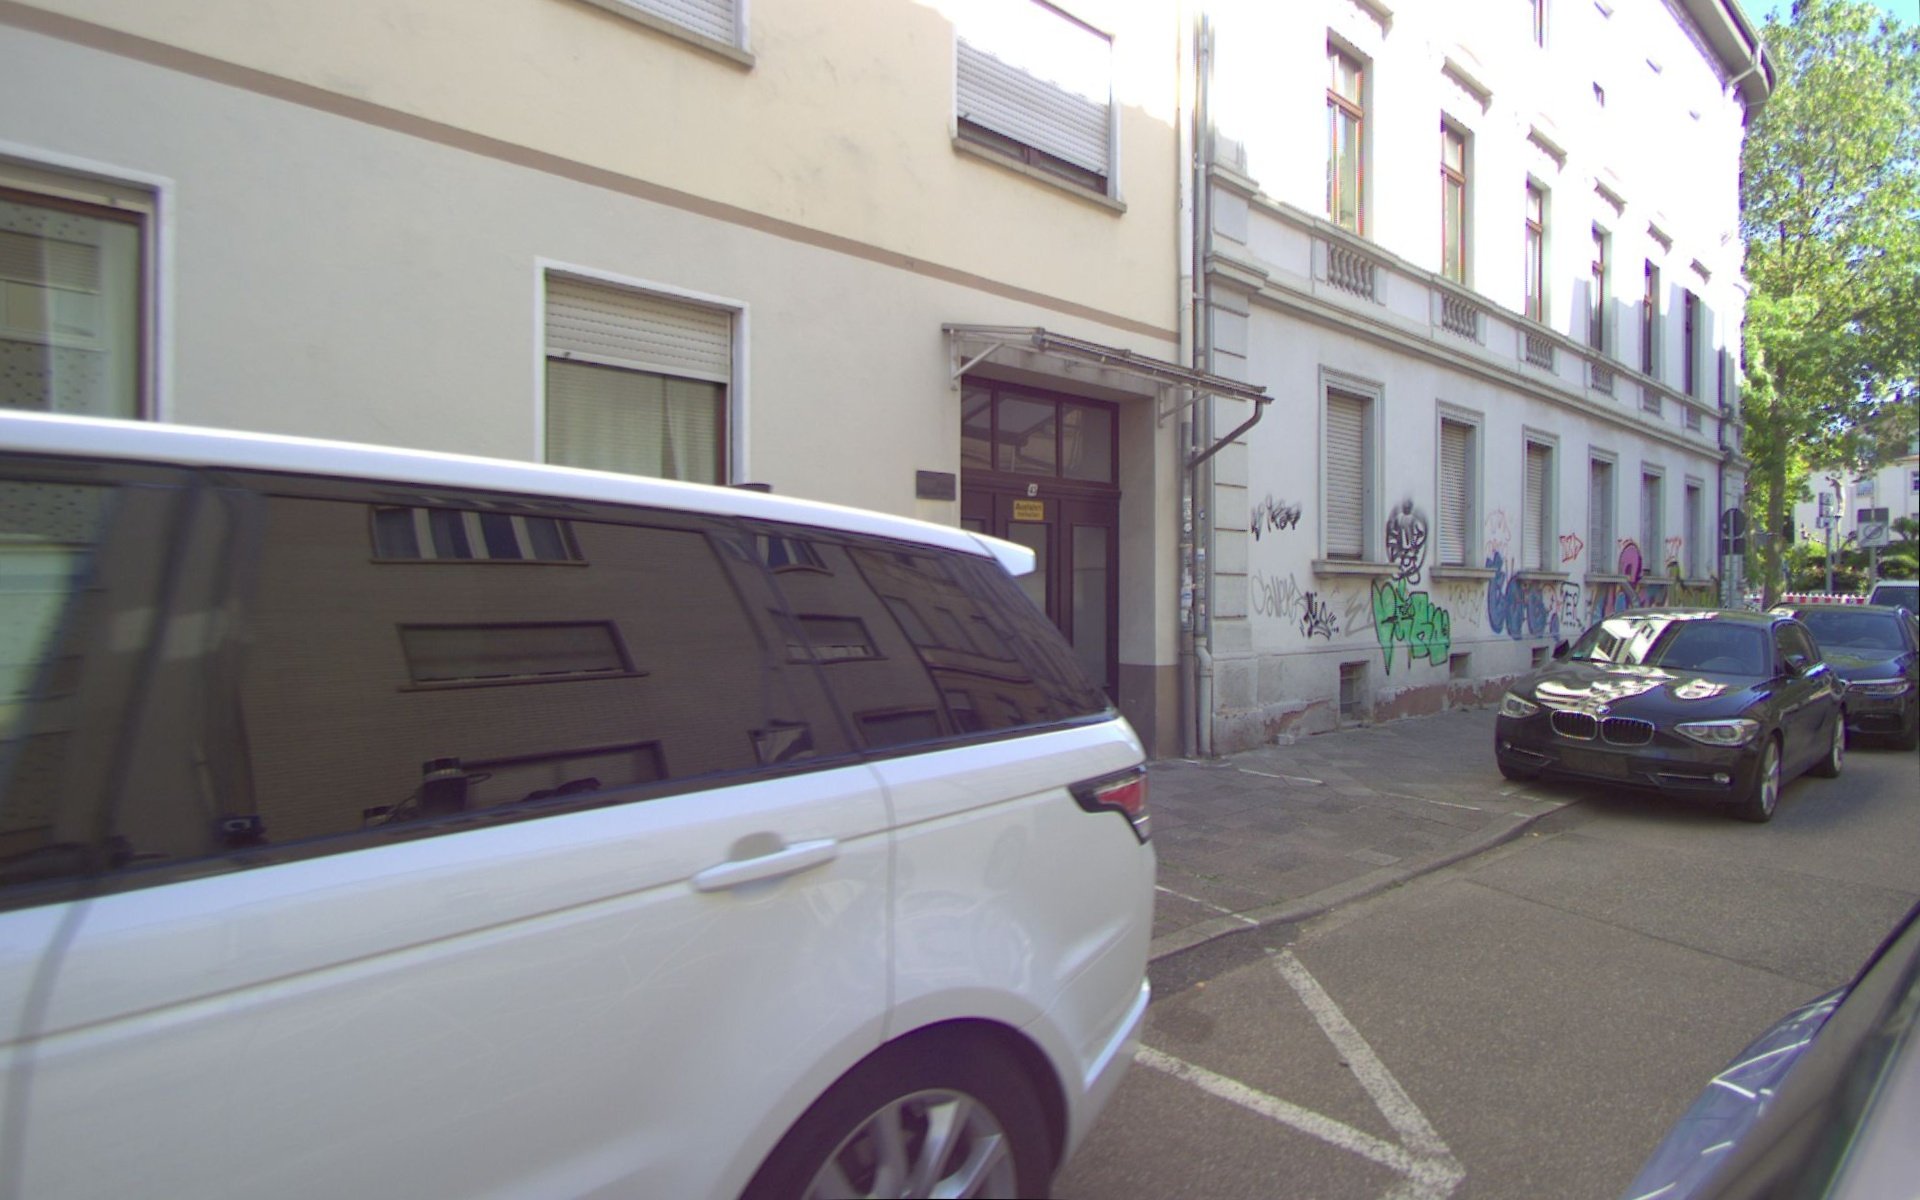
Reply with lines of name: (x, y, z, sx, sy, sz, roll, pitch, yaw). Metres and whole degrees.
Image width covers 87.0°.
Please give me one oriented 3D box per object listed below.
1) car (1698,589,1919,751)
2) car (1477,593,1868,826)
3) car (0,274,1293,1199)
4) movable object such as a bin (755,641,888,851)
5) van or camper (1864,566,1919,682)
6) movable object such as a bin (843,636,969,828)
car: (10.352, 0.689, 11.791, 4.644, 1.539, 1.817, 0, -2, -41)
car: (5.966, 0.716, 8.322, 3.801, 1.467, 1.749, 0, -2, -41)
car: (-1.719, 0.594, 1.506, 4.852, 1.806, 2.009, 0, 0, -41)
movable object such as a bin: (-0.807, 0.807, 5.873, 0.542, 1.084, 0.579, 0, 1, -37)
van or camper: (18.859, 0.423, 19.323, 4.945, 2.039, 1.896, 0, 0, -43)
movable object such as a bin: (-0.343, 0.789, 6.341, 0.542, 1.084, 0.579, 0, 1, -37)
